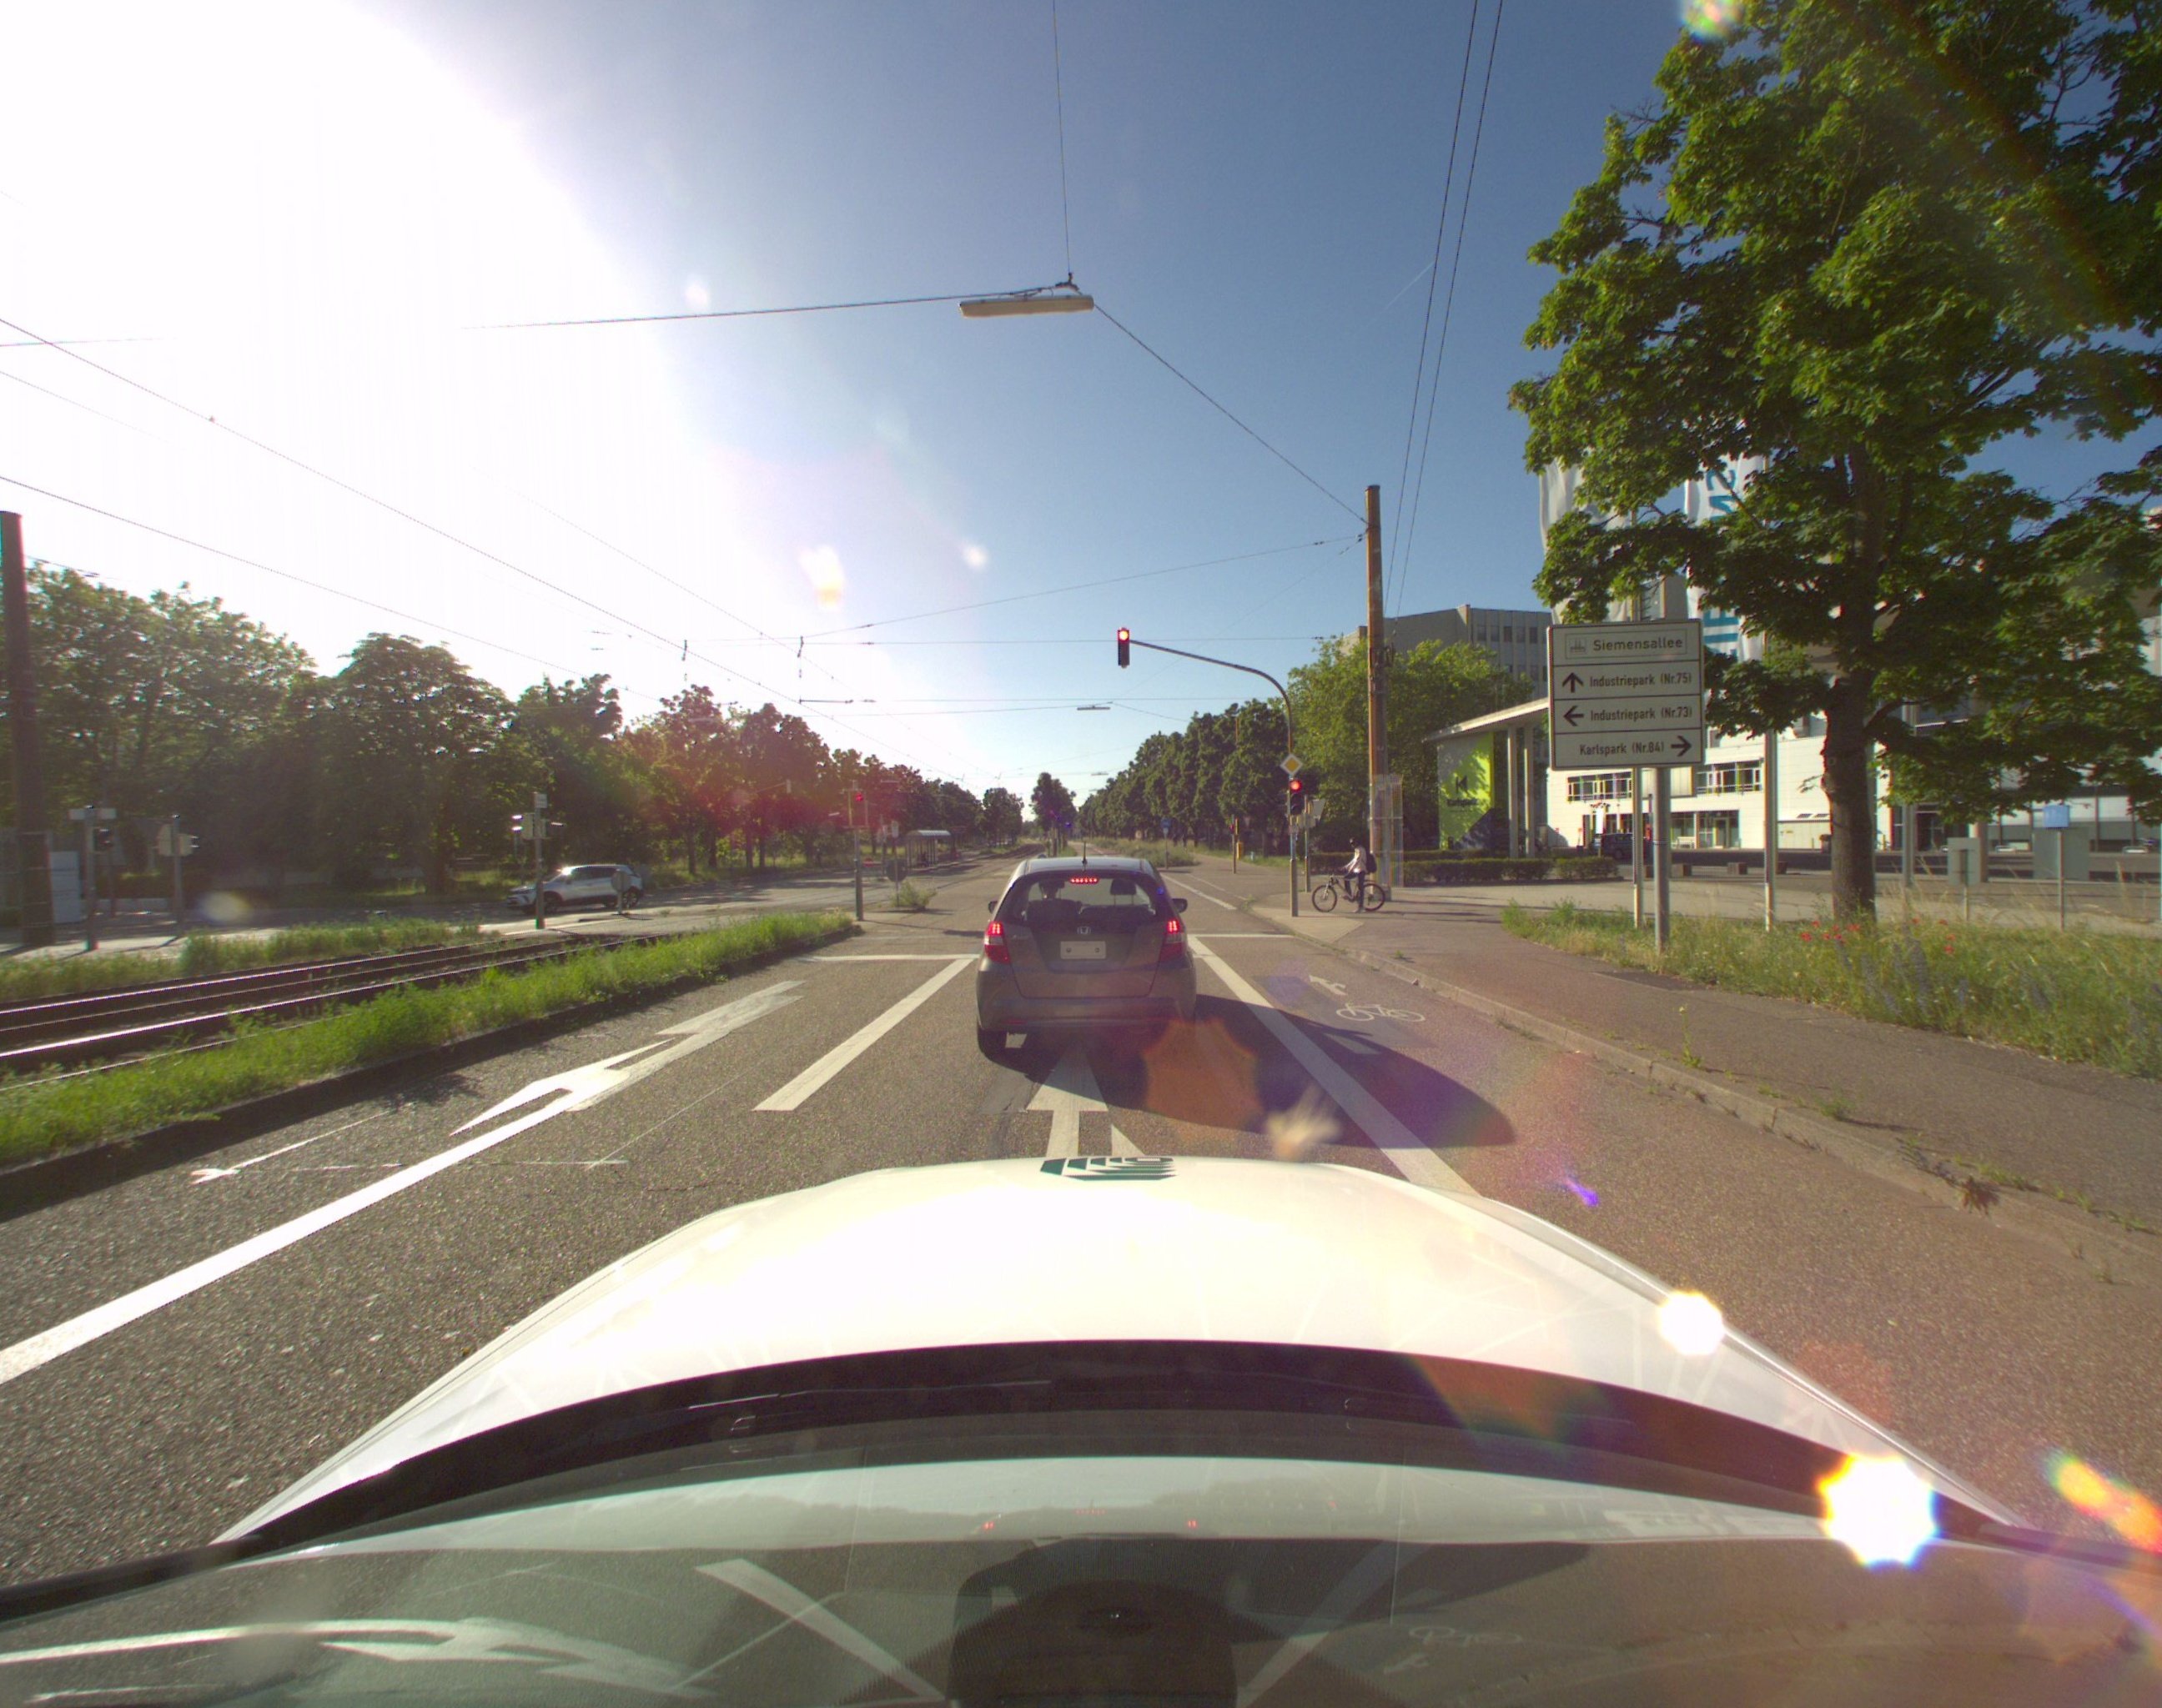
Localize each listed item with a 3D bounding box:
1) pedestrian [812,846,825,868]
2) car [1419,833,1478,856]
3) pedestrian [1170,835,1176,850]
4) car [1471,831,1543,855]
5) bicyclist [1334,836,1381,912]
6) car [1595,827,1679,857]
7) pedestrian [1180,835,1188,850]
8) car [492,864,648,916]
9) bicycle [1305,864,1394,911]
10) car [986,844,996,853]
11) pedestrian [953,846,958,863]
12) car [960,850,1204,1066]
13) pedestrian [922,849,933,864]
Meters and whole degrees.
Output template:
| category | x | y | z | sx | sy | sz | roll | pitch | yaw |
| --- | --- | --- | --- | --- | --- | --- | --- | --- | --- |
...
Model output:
| category | x | y | z | sx | sy | sz | roll | pitch | yaw |
| --- | --- | --- | --- | --- | --- | --- | --- | --- | --- |
| pedestrian | -24.316 | 0.313 | 75.491 | 0.837 | 2.013 | 0.863 | -1 | 0 | 0 |
| car | 30.078 | -0.769 | 66.744 | 3.989 | 1.757 | 1.993 | -1 | 0 | -11 |
| pedestrian | 9.664 | -1.192 | 85.337 | 0.565 | 1.596 | 0.665 | 0 | 0 | -2 |
| car | 31.205 | -0.800 | 59.691 | 4.538 | 1.629 | 1.869 | -1 | 0 | -11 |
| bicyclist | 6.562 | 0.467 | 19.347 | 0.904 | 1.745 | 0.767 | -3 | -1 | 12 |
| car | 33.728 | -0.752 | 49.433 | 3.984 | 1.720 | 1.895 | -1 | 0 | -8 |
| pedestrian | 10.797 | -1.214 | 85.360 | 0.676 | 1.610 | 0.720 | 0 | 0 | -1 |
| car | -17.857 | 1.193 | 28.591 | 1.833 | 1.606 | 4.281 | -1 | 0 | 42 |
| bicycle | 6.365 | 0.791 | 19.397 | 1.907 | 0.998 | 0.767 | -3 | -1 | 12 |
| car | -19.575 | -1.158 | 177.172 | 1.761 | 1.738 | 3.999 | -1 | 0 | 0 |
| pedestrian | -12.455 | 0.084 | 80.676 | 0.502 | 1.675 | 0.386 | -1 | 0 | -10 |
| car | 0.094 | 0.725 | 7.720 | 1.700 | 1.509 | 4.003 | -1 | 0 | 2 |
| pedestrian | -12.467 | 0.201 | 66.103 | 0.718 | 1.246 | 0.710 | -2 | 0 | 0 |
